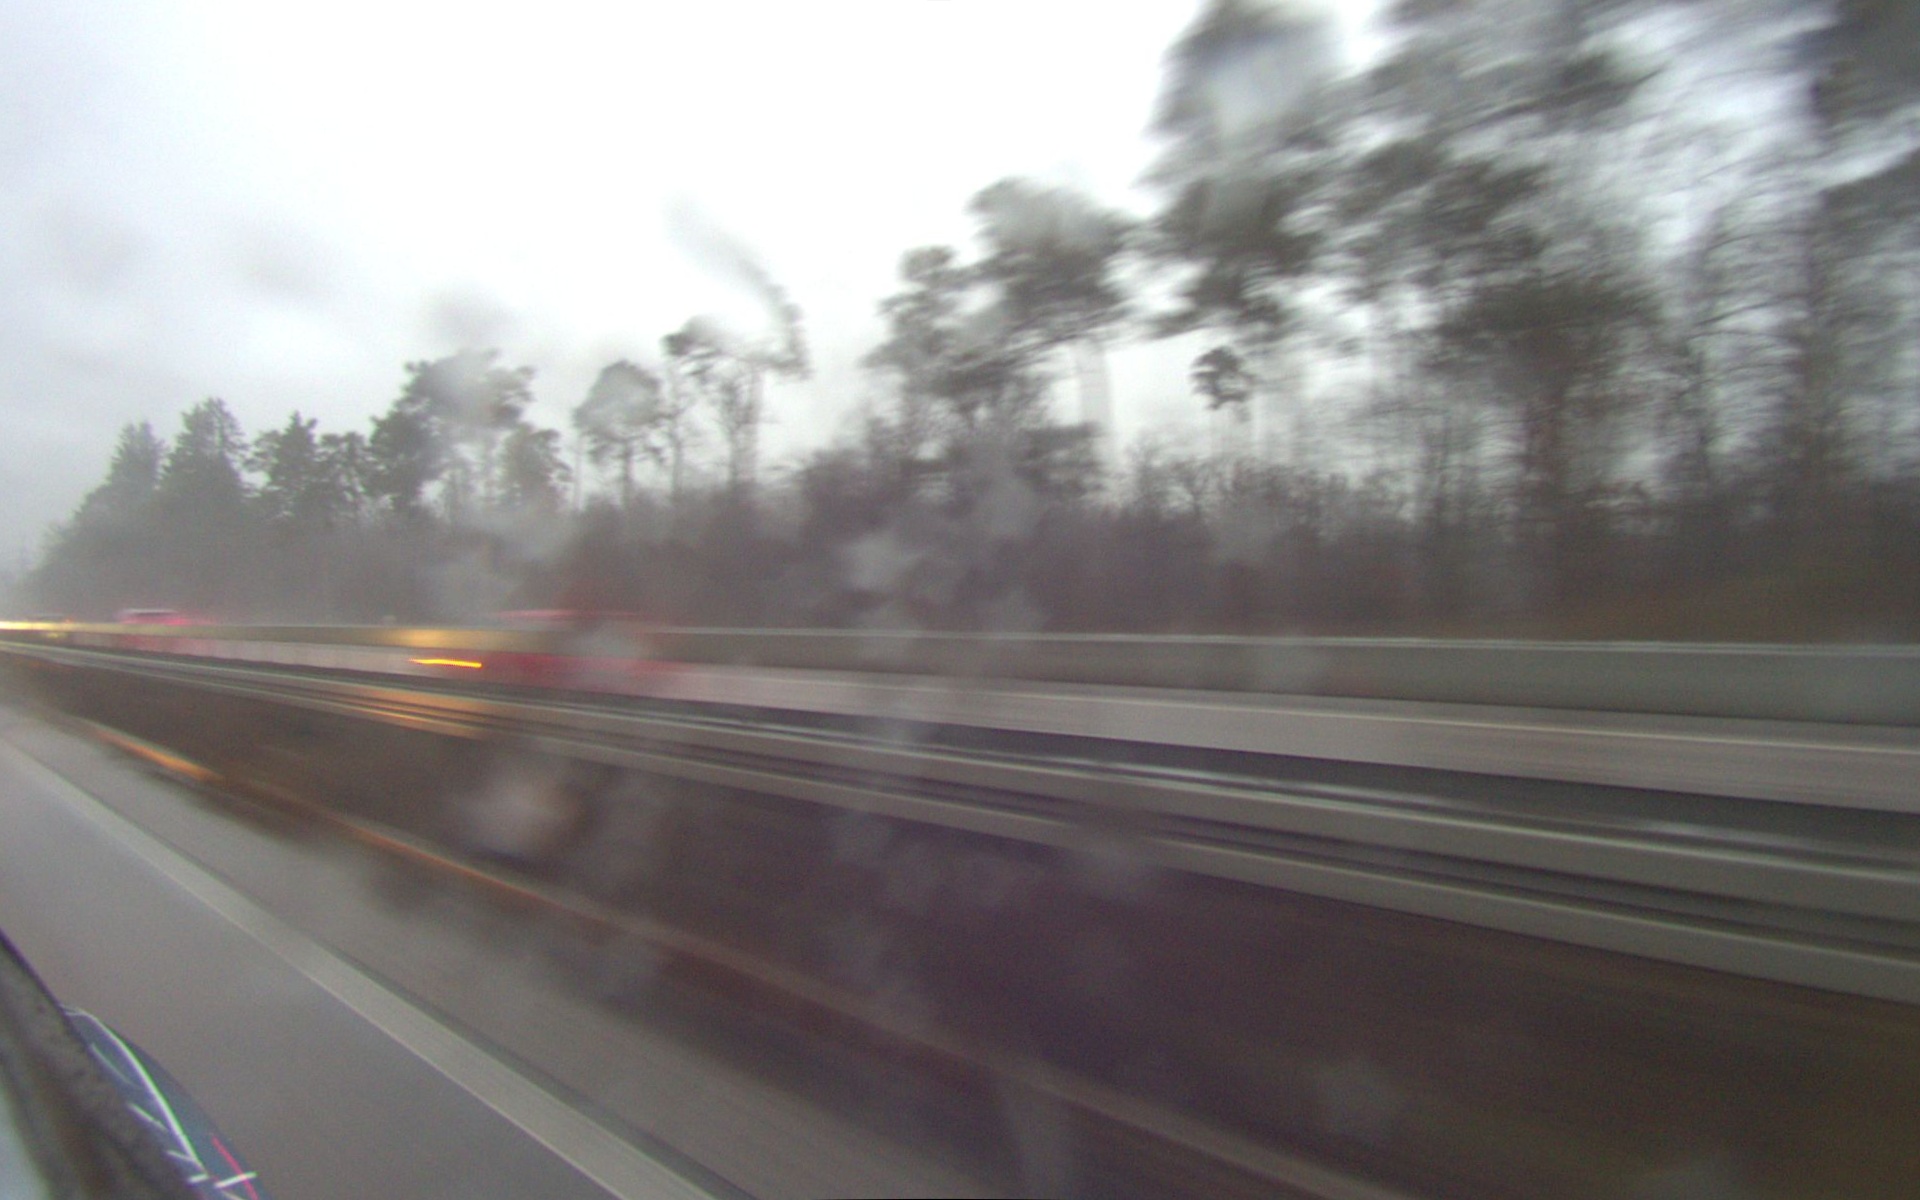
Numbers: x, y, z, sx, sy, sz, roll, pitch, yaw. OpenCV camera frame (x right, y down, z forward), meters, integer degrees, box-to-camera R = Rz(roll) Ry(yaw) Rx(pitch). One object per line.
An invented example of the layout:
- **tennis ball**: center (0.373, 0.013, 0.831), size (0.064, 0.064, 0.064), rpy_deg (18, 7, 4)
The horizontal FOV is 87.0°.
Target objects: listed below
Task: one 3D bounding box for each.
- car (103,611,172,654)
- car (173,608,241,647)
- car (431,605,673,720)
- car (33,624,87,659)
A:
- **car**: center (-31.005, 1.195, 38.117), size (3.773, 1.540, 1.414), rpy_deg (-1, -1, 41)
- **car**: center (-36.857, 1.309, 49.492), size (4.000, 1.820, 1.962), rpy_deg (-1, -1, 43)
- **car**: center (-6.292, 0.859, 15.373), size (4.255, 1.505, 1.659), rpy_deg (-1, -1, 41)
- **car**: center (-44.854, 2.038, 50.398), size (3.513, 1.619, 1.704), rpy_deg (-1, -1, 43)
